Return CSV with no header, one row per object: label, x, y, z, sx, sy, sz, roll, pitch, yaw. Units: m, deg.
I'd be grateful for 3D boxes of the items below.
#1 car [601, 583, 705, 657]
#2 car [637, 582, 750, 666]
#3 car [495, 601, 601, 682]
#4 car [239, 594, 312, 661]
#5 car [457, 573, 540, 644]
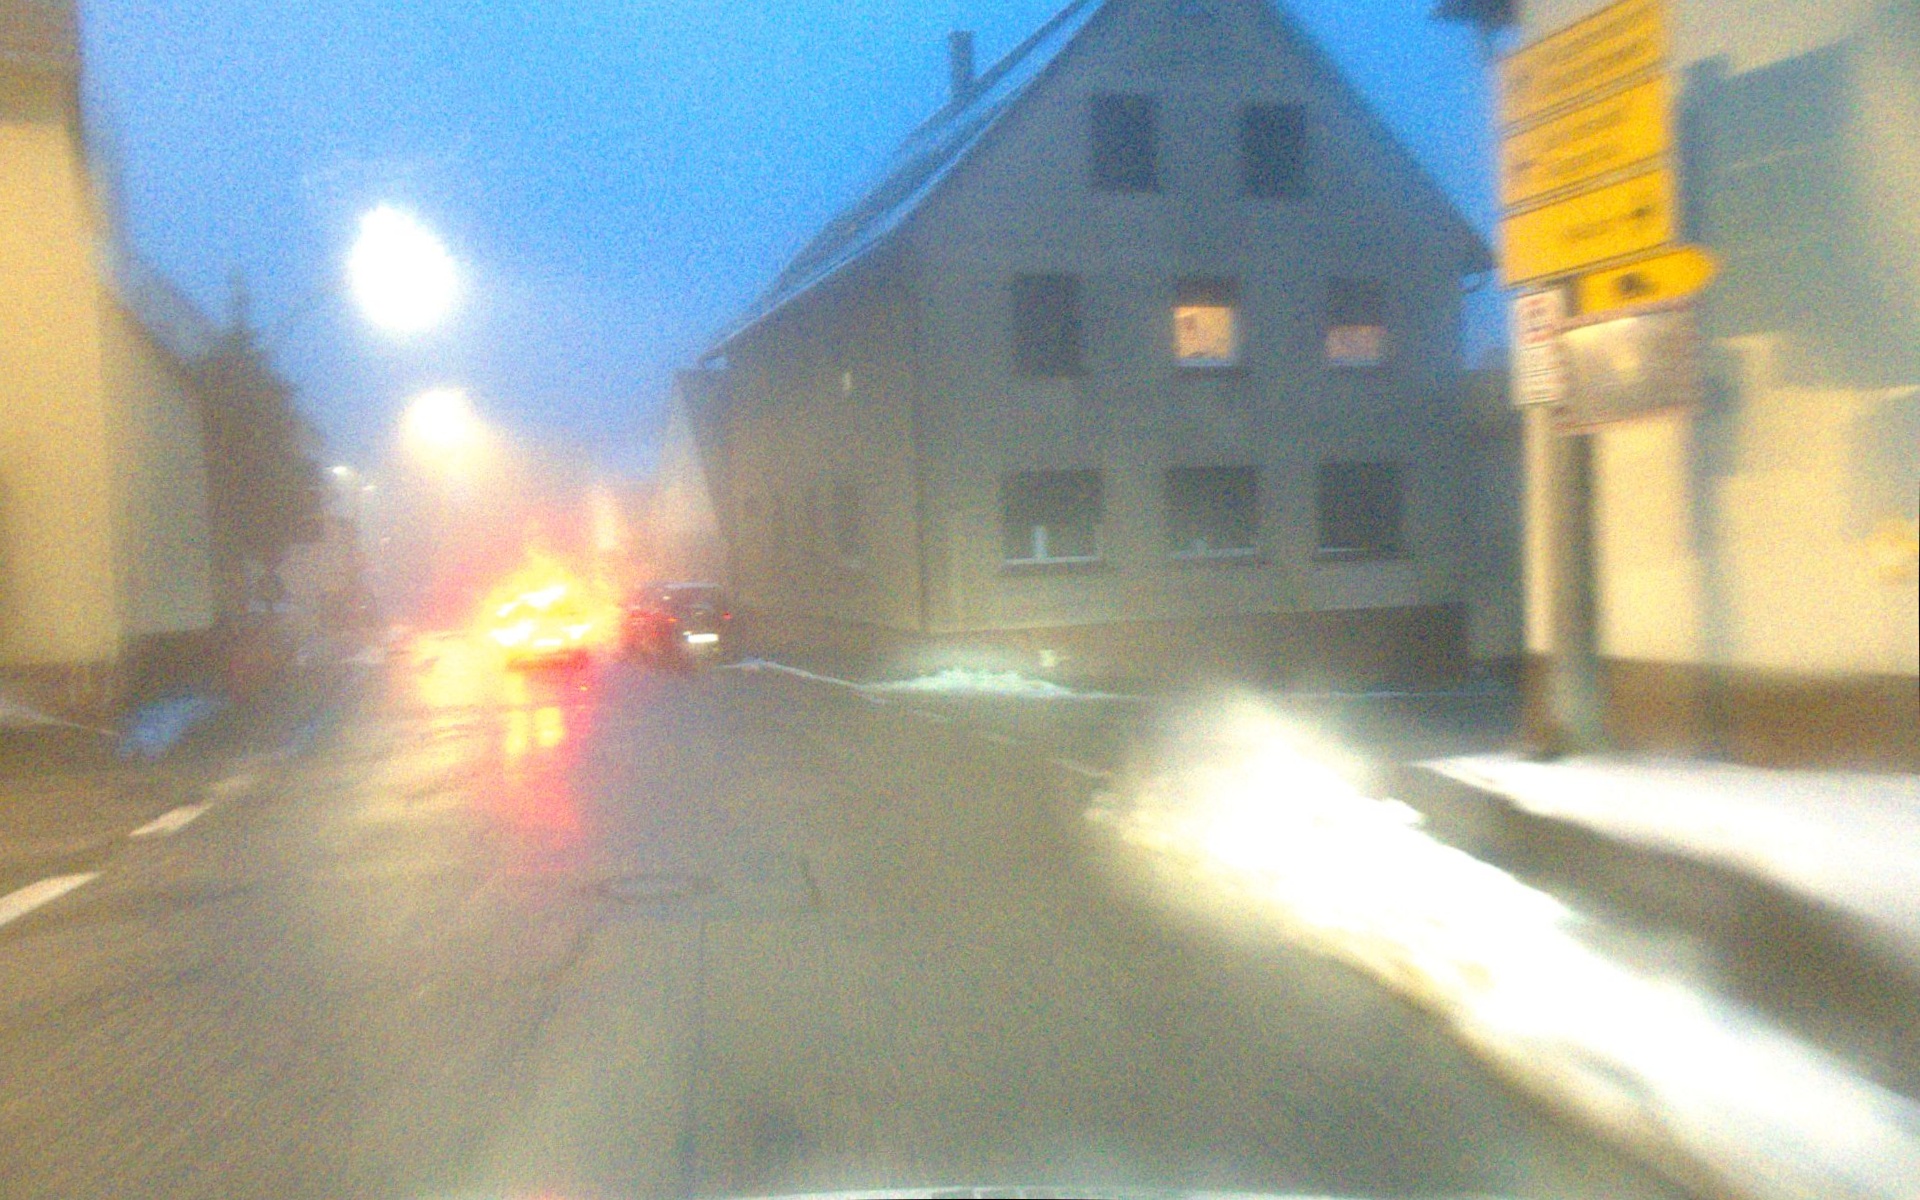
car,-6.981,0.415,37.341,1.880,1.506,4.263,-2,1,-16
car,-5.255,0.471,32.255,1.689,1.526,3.888,0,-1,-17
car,-8.391,0.821,33.651,1.960,1.534,3.984,0,-1,-15
car,-19.583,0.801,47.230,1.741,1.767,4.604,3,-2,-24
car,-12.082,0.240,43.149,1.962,1.758,3.980,0,-1,-17
